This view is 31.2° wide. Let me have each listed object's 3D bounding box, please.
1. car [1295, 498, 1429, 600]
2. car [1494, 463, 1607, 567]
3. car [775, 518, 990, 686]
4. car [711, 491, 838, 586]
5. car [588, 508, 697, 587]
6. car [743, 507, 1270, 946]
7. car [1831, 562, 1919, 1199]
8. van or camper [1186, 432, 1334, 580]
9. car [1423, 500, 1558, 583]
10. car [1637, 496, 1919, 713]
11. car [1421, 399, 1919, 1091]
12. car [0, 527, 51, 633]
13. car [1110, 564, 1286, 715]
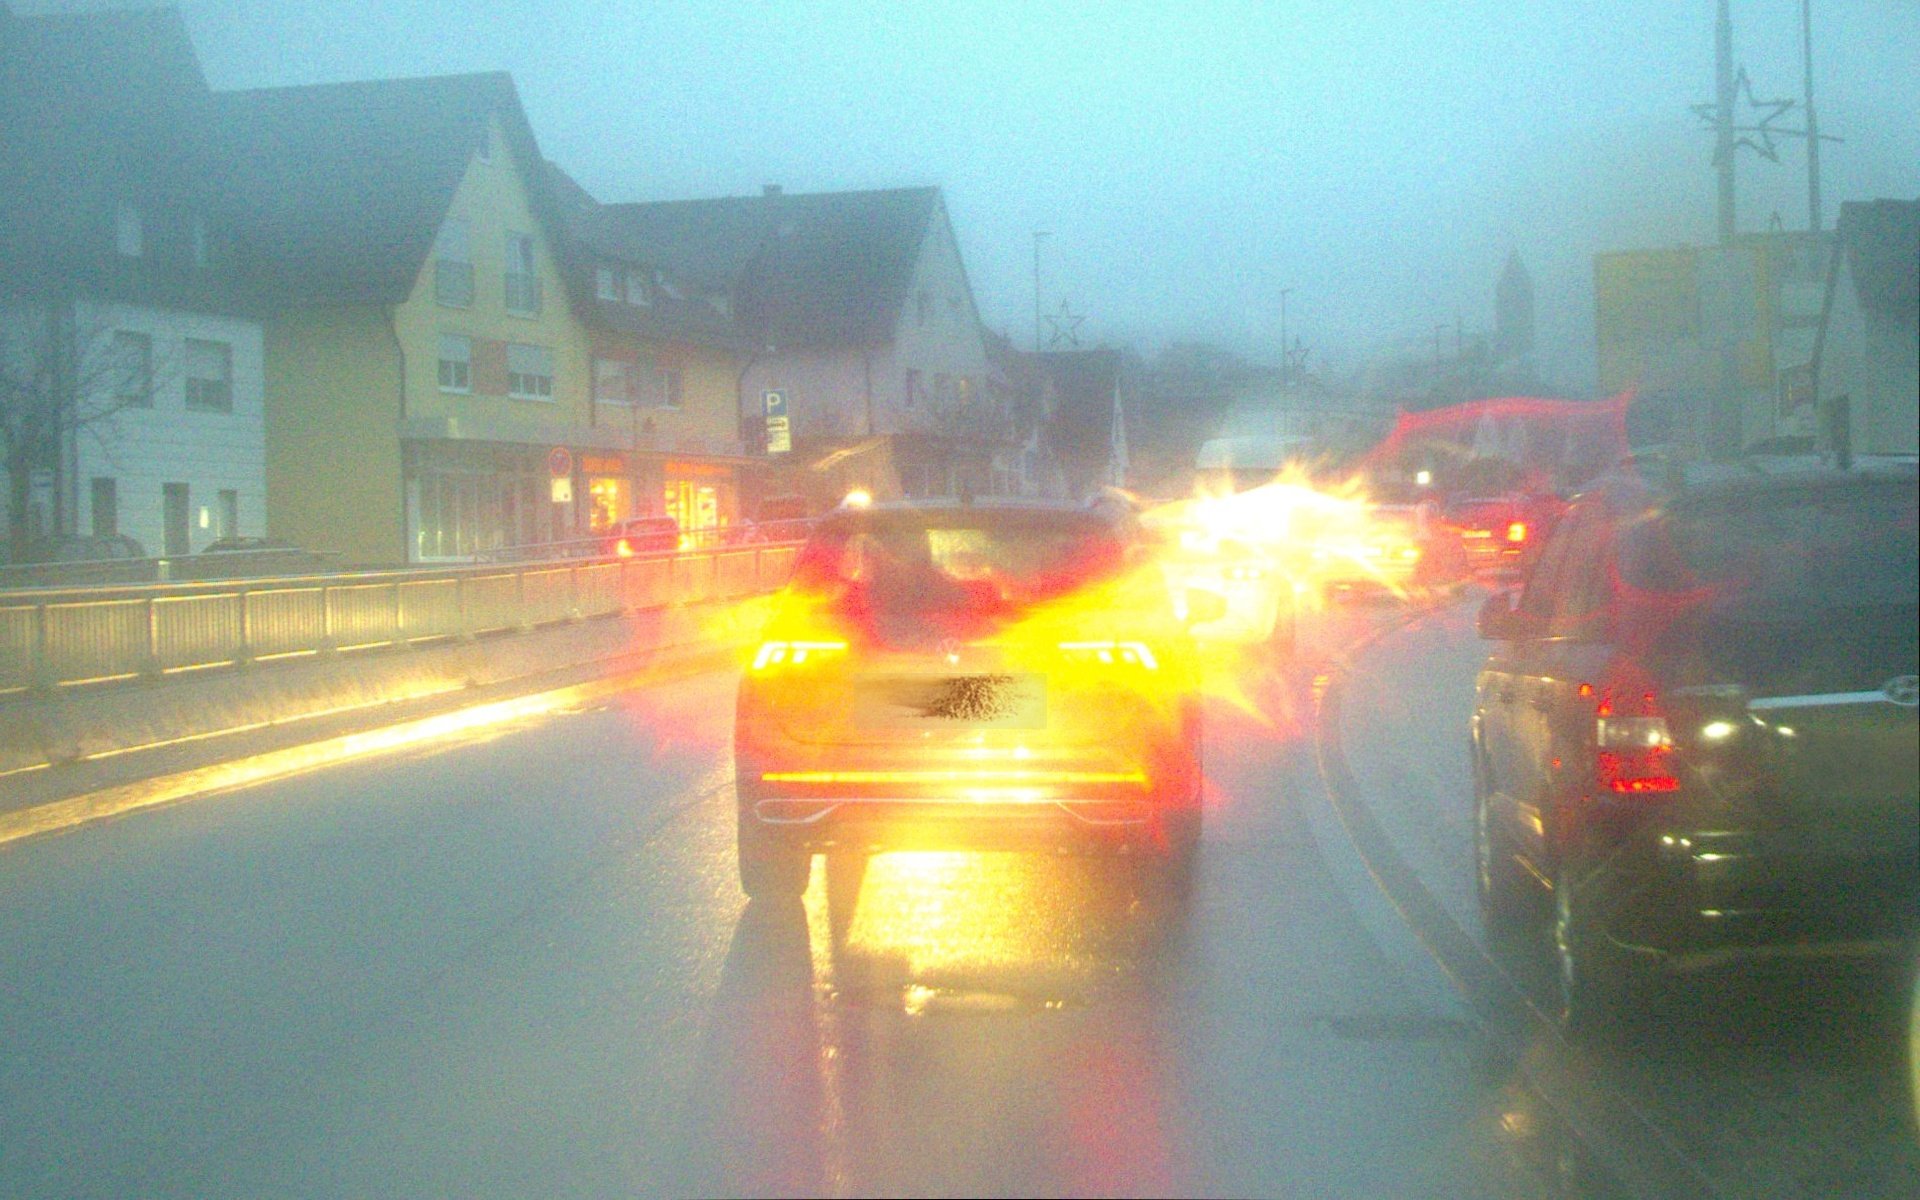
[{"bbox_3d":[6.042,-0.793,51.370,1.815,1.407,3.999,0,2,9],"label":"car"},{"bbox_3d":[12.579,-1.805,73.128,2.159,1.984,4.497,-4,1,11],"label":"car"},{"bbox_3d":[-0.748,-0.017,35.556,1.663,1.630,3.550,0,1,8],"label":"car"},{"bbox_3d":[-3.999,-1.336,73.510,2.037,1.919,4.058,-2,2,-12],"label":"car"},{"bbox_3d":[-6.861,-1.154,74.080,1.821,1.607,4.058,-2,2,-12],"label":"car"},{"bbox_3d":[0.107,0.416,14.999,1.964,1.589,4.314,0,2,-2],"label":"car"},{"bbox_3d":[2.537,0.630,5.283,1.645,1.410,2.727,-4,2,0],"label":"car"},{"bbox_3d":[5.860,-1.823,66.393,2.241,2.660,6.553,-1,2,10],"label":"van or camper"},{"bbox_3d":[9.724,-1.086,62.766,1.995,1.387,3.998,-1,2,15],"label":"car"},{"bbox_3d":[6.367,-0.023,25.015,1.765,1.389,3.915,-3,1,-5],"label":"car"},{"bbox_3d":[2.538,0.314,11.092,1.770,1.776,4.000,-4,1,5],"label":"car"},{"bbox_3d":[-16.292,-0.279,54.819,1.911,1.677,4.216,-1,2,9],"label":"car"},{"bbox_3d":[2.425,0.363,35.191,1.682,1.448,4.000,0,1,4],"label":"car"}]
